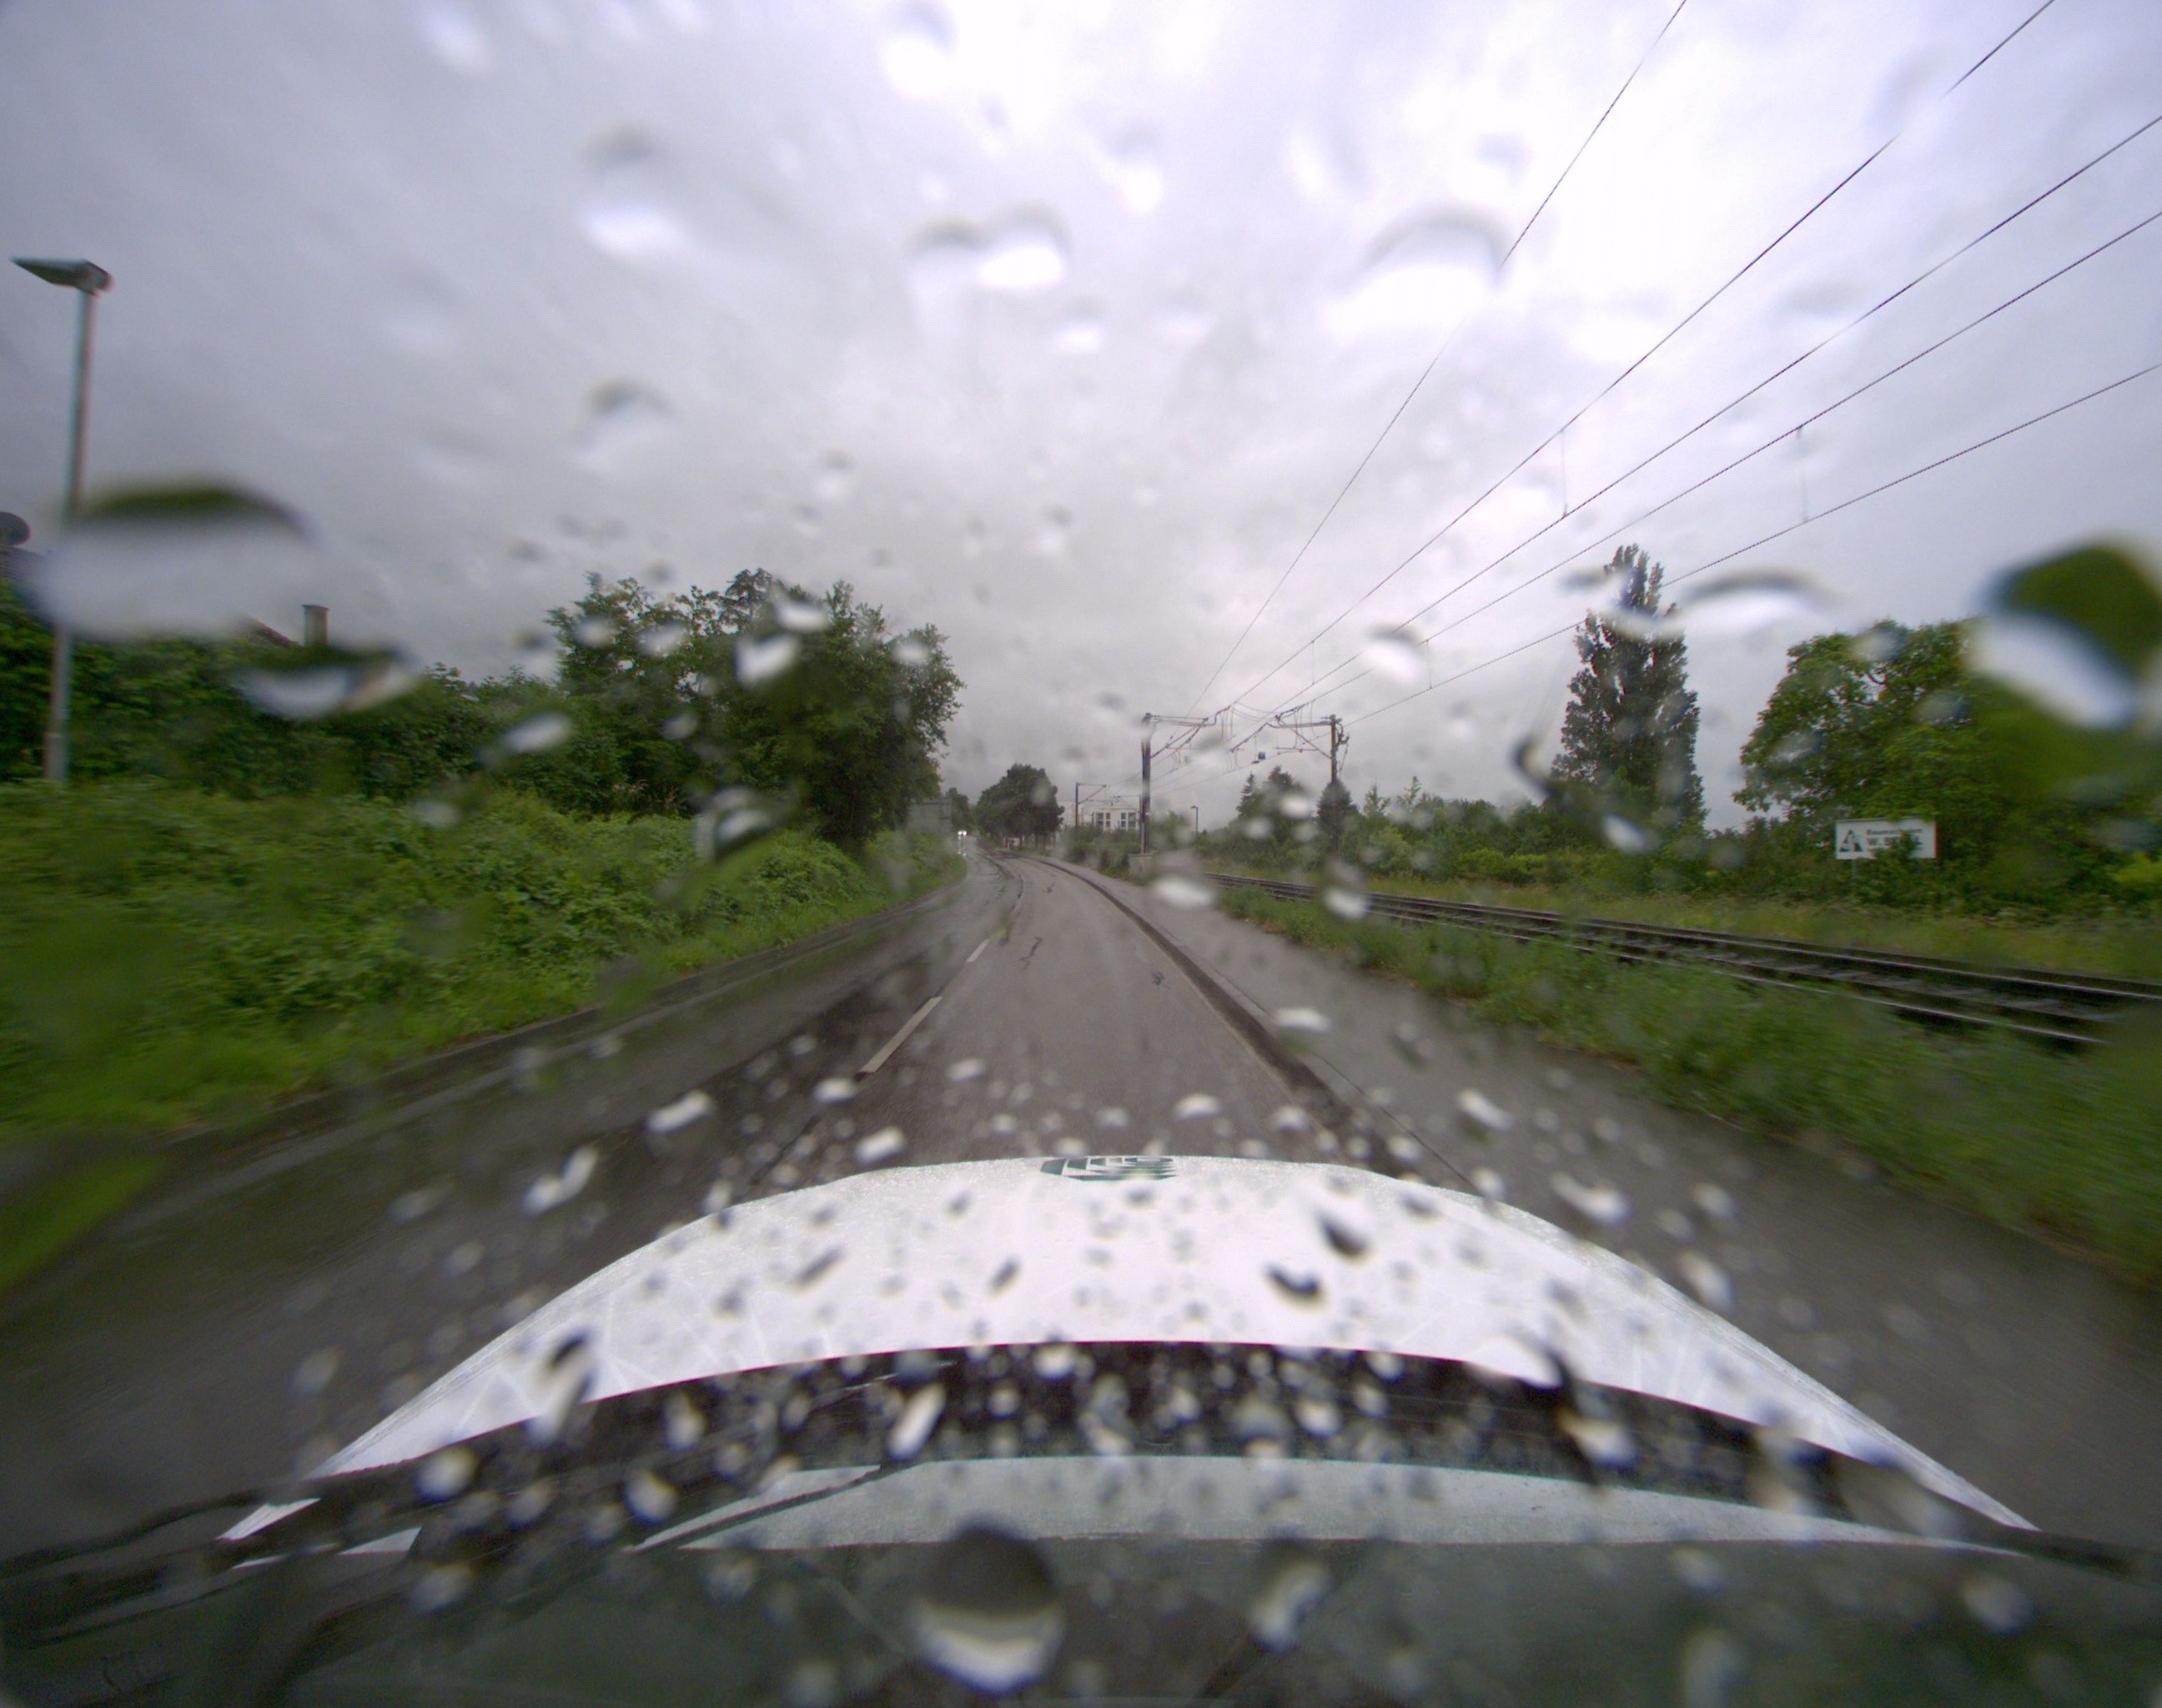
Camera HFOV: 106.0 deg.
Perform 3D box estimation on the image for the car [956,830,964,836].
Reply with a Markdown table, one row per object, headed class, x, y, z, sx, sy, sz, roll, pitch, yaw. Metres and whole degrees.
| class | x | y | z | sx | sy | sz | roll | pitch | yaw |
| --- | --- | --- | --- | --- | --- | --- | --- | --- | --- |
| car | -34.026 | -6.011 | 229.308 | 1.742 | 1.611 | 4.081 | 1 | 2 | -5 |
